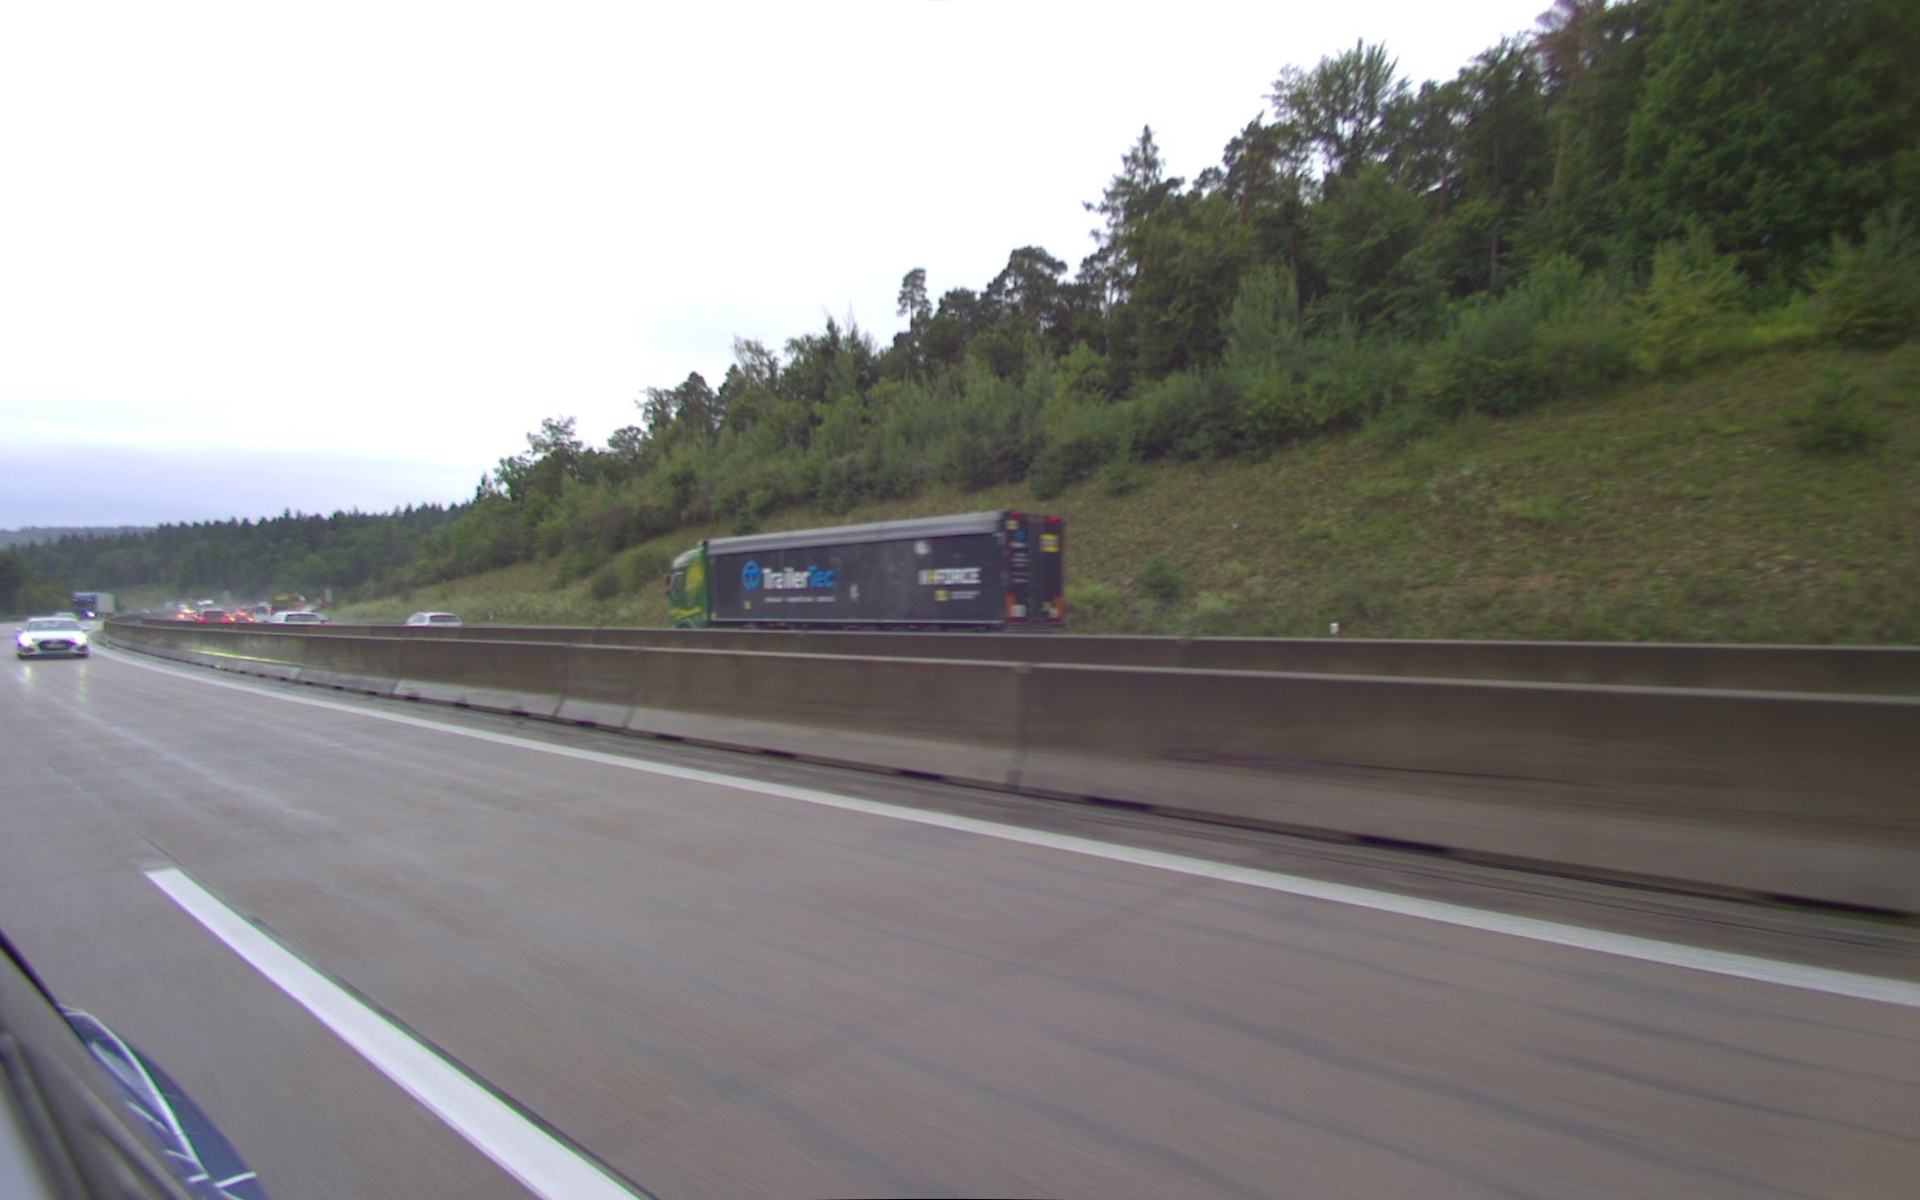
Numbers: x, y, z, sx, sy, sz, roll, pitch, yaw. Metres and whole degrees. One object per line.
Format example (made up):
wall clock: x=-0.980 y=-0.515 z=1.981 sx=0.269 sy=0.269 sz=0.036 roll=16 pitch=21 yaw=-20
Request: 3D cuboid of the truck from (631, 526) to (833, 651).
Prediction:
truck: x=-8.346 y=-0.325 z=36.272 sx=8.115 sy=3.990 sz=2.896 roll=-1 pitch=-1 yaw=42

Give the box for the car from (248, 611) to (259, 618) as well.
car: x=-138.125 y=2.780 z=197.897 sx=1.780 sy=1.356 sz=4.779 roll=-1 pitch=0 yaw=-34

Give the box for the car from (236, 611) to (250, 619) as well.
car: x=-119.192 y=2.471 z=168.271 sx=1.631 sy=1.356 sz=4.097 roll=-1 pitch=0 yaw=-33

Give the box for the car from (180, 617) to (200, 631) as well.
car: x=-85.878 y=2.677 z=112.885 sx=1.719 sy=1.573 sz=4.292 roll=0 pitch=-1 yaw=-38

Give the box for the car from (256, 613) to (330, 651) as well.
car: x=-30.126 y=1.411 z=45.655 sx=1.970 sy=1.597 sz=4.775 roll=0 pitch=-1 yaw=-44

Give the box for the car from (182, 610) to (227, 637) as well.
car: x=-51.214 y=1.570 z=68.578 sx=1.970 sy=1.781 sz=4.542 roll=0 pitch=-1 yaw=-43

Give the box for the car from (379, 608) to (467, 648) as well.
car: x=-23.205 y=1.177 z=43.666 sx=4.773 sy=1.597 sz=1.971 roll=-1 pitch=-1 yaw=44

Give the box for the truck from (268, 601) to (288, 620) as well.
truck: x=-121.382 y=1.833 z=180.200 sx=2.586 sy=3.321 sz=9.409 roll=0 pitch=0 yaw=-32

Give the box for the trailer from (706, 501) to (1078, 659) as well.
trailer: x=-2.726 y=-0.435 z=31.168 sx=13.460 sy=3.990 sz=2.896 roll=-1 pitch=-1 yaw=42

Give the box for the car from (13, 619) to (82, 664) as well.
car: x=-32.150 y=1.412 z=35.631 sx=1.692 sy=1.417 sz=4.941 roll=-1 pitch=0 yaw=-43

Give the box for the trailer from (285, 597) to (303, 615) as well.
trailer: x=-149.631 y=1.329 z=227.598 sx=2.973 sy=3.904 sz=13.740 roll=-1 pitch=0 yaw=-32

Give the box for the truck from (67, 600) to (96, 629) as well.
truck: x=-130.982 y=2.188 z=150.900 sx=2.695 sy=4.183 sz=8.638 roll=-1 pitch=0 yaw=-38

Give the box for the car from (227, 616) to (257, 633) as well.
car: x=-65.668 y=2.248 z=92.556 sx=1.556 sy=1.498 sz=4.287 roll=0 pitch=-1 yaw=-44
